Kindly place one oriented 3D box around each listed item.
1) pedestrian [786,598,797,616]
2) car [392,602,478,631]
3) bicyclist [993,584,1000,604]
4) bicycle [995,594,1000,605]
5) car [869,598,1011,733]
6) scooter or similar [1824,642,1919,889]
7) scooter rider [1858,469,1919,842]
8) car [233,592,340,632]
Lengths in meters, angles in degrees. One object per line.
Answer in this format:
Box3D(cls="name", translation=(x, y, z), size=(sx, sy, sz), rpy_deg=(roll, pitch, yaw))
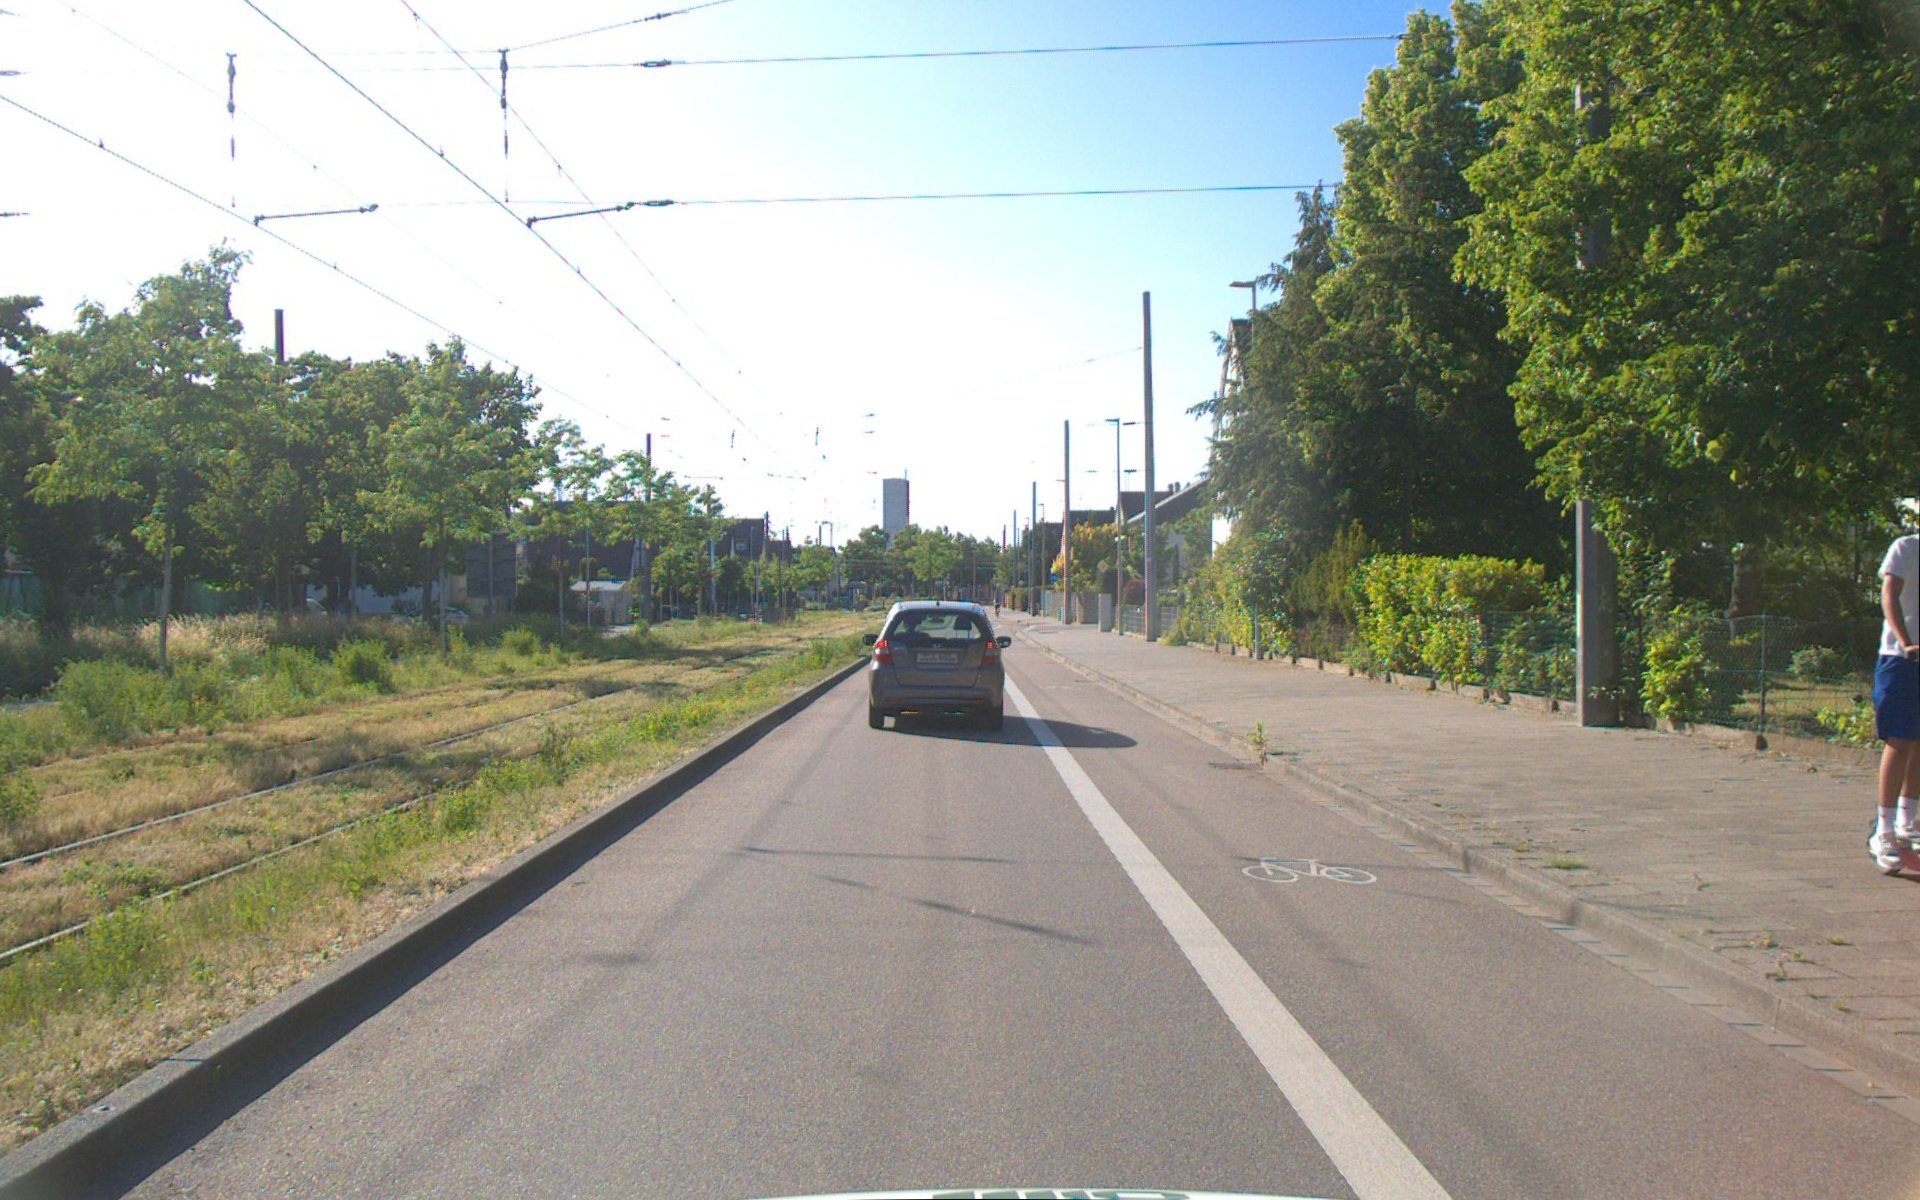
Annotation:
Box3D(cls="pedestrian", translation=(-15.661, 0.652, 153.825), size=(0.945, 1.669, 1.085), rpy_deg=(0, 0, 0))
Box3D(cls="car", translation=(-27.553, 0.868, 86.889), size=(3.906, 1.428, 1.852), rpy_deg=(-1, -2, -1))
Box3D(cls="bicyclist", translation=(3.167, -0.539, 142.274), size=(0.586, 1.731, 0.683), rpy_deg=(1, -1, 0))
Box3D(cls="bicycle", translation=(3.228, -0.047, 142.497), size=(0.465, 0.978, 1.657), rpy_deg=(1, 0, 0))
Box3D(cls="car", translation=(-0.280, 0.777, 21.124), size=(1.637, 1.562, 3.486), rpy_deg=(1, 0, -2))
Box3D(cls="scooter or similar", translation=(4.757, 0.805, 8.133), size=(0.341, 1.157, 1.208), rpy_deg=(-1, 0, -2))
Box3D(cls="scooter rider", translation=(4.890, 0.267, 8.189), size=(0.539, 1.798, 0.599), rpy_deg=(1, 0, -2))
Box3D(cls="car", translation=(-34.116, 0.579, 83.867), size=(4.591, 1.948, 1.903), rpy_deg=(-1, 0, -1))
